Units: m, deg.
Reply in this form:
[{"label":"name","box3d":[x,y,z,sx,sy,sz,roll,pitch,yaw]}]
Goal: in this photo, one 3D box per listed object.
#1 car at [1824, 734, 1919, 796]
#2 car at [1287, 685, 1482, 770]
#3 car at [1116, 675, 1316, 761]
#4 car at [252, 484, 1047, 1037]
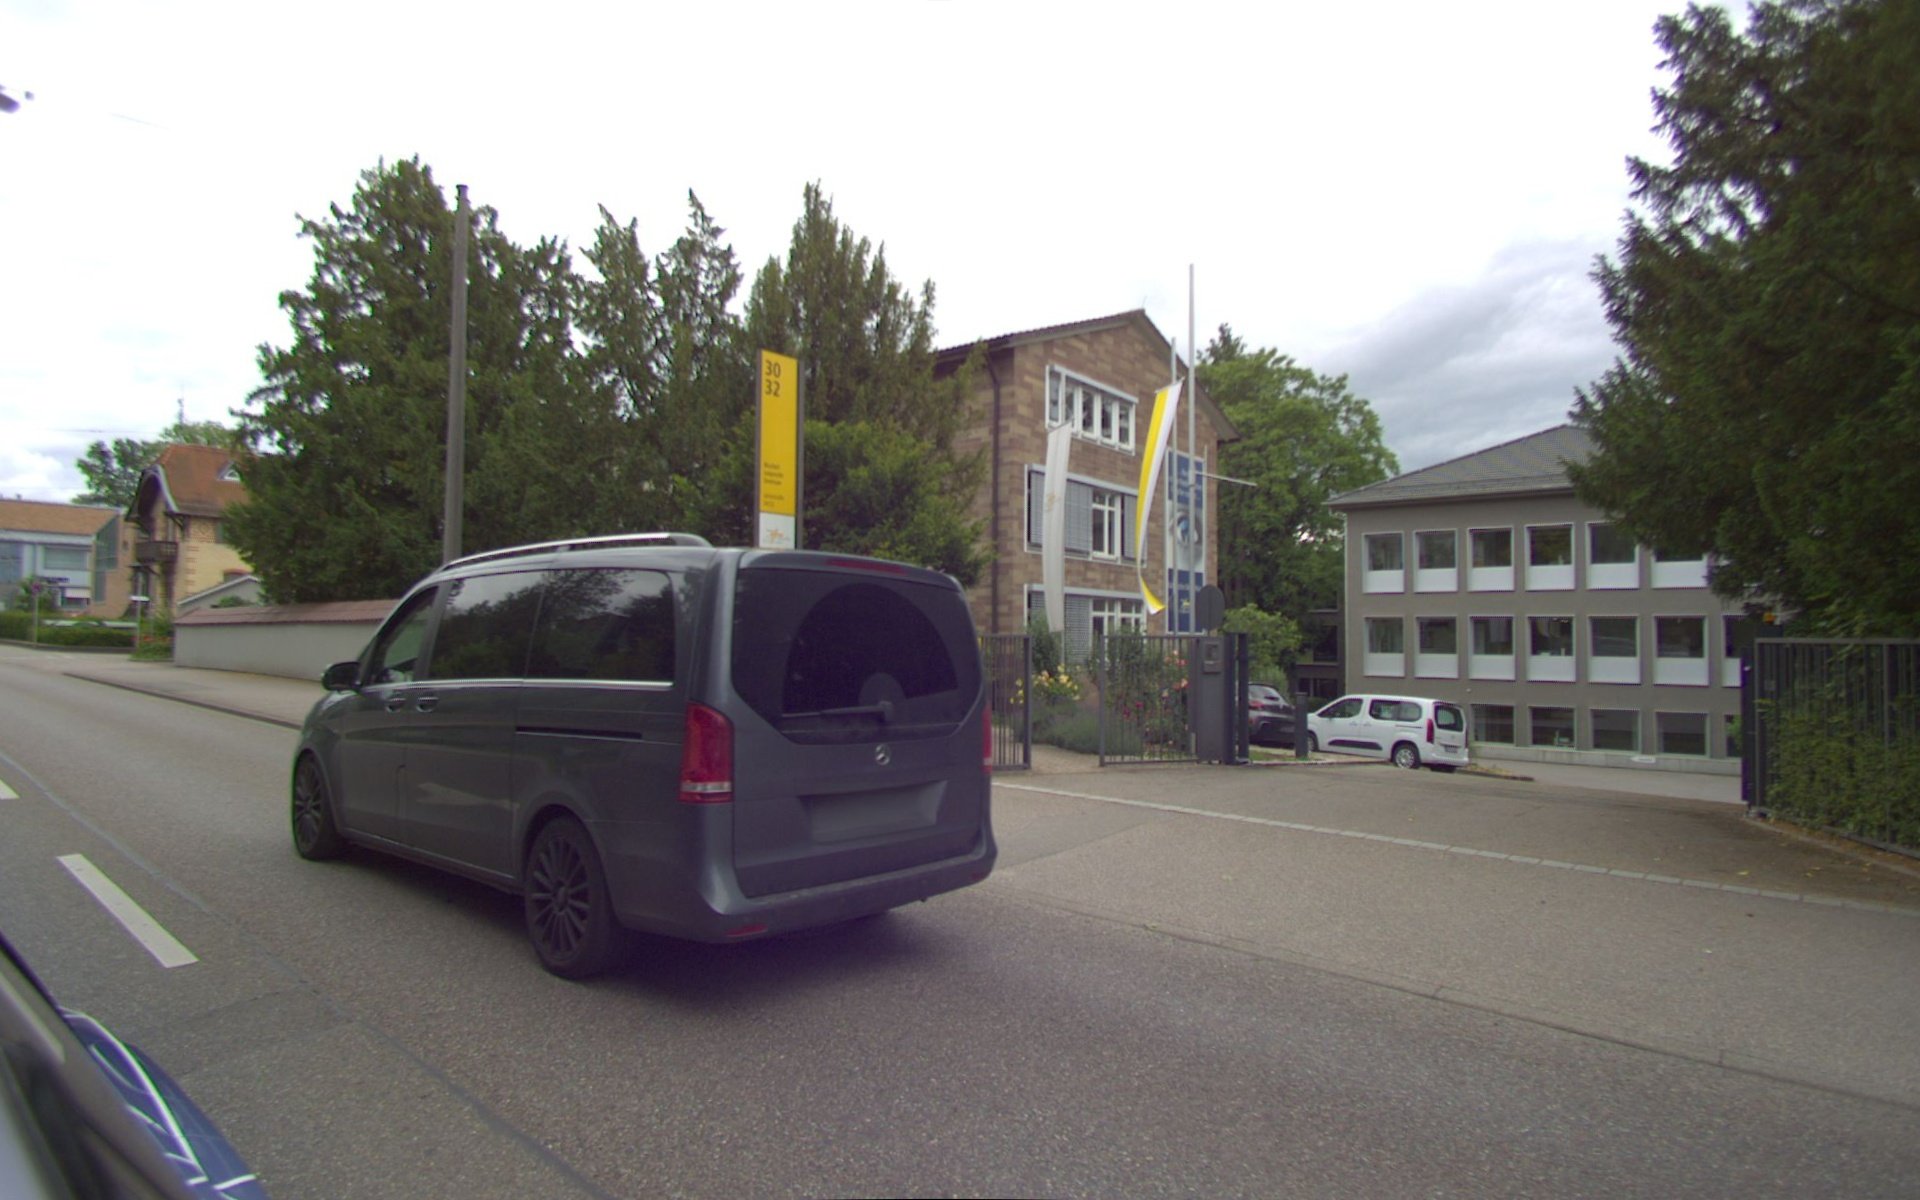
[{"label":"car","box3d":[26.425,4.514,27.162,4.524,1.401,1.851,1,-3,22]},{"label":"car","box3d":[10.562,3.124,25.451,1.852,1.819,4.158,5,-5,-36]},{"label":"car","box3d":[5.186,2.369,20.905,1.623,1.517,3.866,5,-5,-36]},{"label":"car","box3d":[-2.127,0.614,5.814,5.079,1.870,1.871,-1,-4,40]}]
